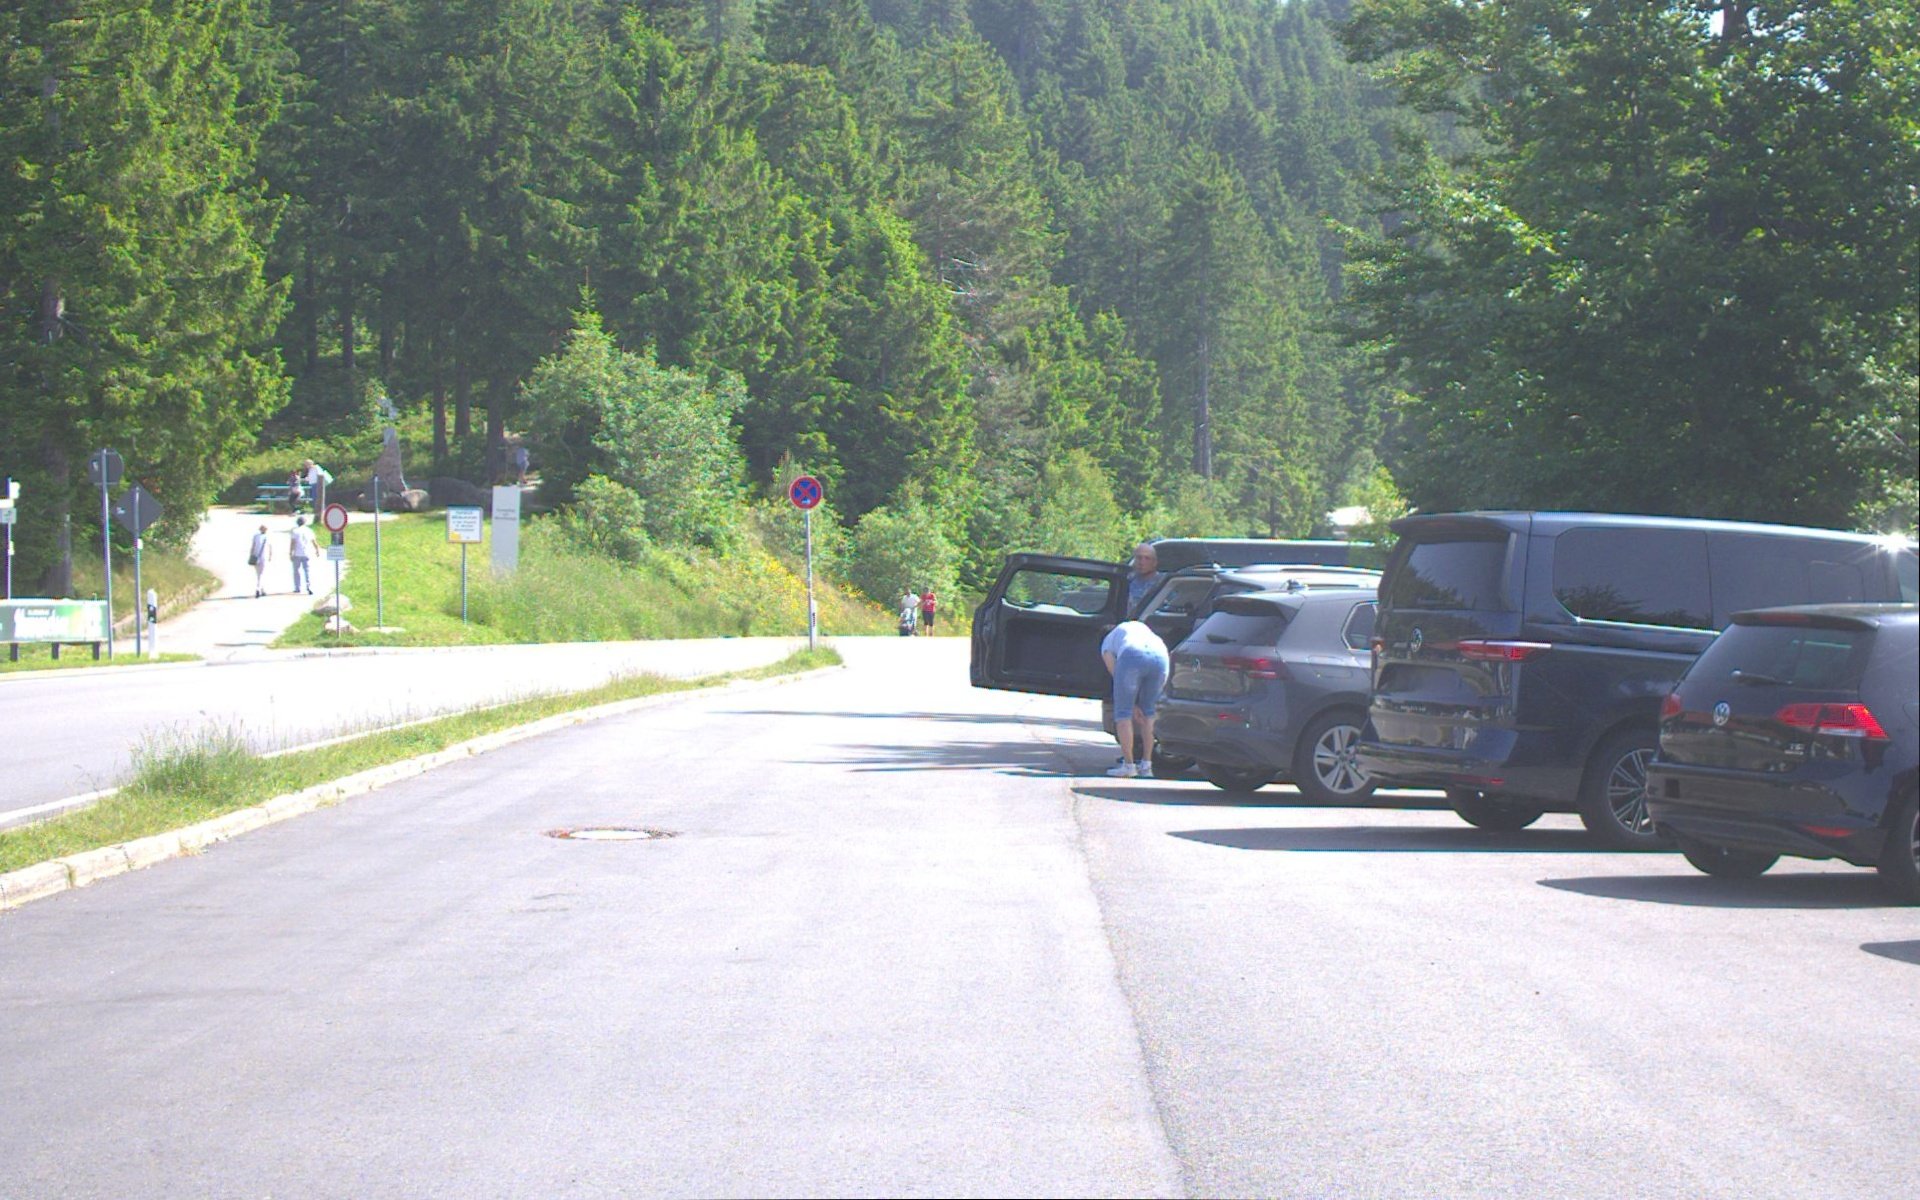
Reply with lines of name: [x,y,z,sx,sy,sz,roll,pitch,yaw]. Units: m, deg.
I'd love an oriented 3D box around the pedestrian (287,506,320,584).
pedestrian: [-15.200,-1.270,79.584,0.652,1.793,0.643,-1,1,-4]

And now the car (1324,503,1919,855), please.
car: [4.777,0.472,20.303,4.756,1.873,1.967,2,1,-17]

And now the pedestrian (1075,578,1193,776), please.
pedestrian: [1.273,0.553,25.019,0.774,1.398,0.669,-1,2,8]

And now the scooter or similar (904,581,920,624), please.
scooter or similar: [-1.602,0.087,114.266,0.483,1.375,0.817,-1,2,2]

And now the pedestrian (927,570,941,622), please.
pedestrian: [-0.856,-0.125,114.943,0.395,1.741,0.406,0,1,9]

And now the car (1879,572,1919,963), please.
car: [5.973,0.759,14.527,3.987,1.584,1.863,2,1,-35]

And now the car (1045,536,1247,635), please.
car: [3.810,-0.307,70.673,3.987,1.714,1.867,4,2,2]

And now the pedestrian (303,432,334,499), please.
pedestrian: [-19.481,-4.073,104.467,0.815,2.006,0.854,-2,2,-6]

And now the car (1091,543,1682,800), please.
car: [3.302,0.553,26.613,3.986,1.656,2.000,5,-1,-25]

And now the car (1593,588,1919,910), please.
car: [5.351,0.735,17.149,3.986,1.410,1.745,2,1,-25]

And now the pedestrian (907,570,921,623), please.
pedestrian: [-1.533,-0.117,114.894,0.415,1.741,0.457,-1,2,2]

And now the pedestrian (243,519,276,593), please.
pedestrian: [-16.077,-1.008,78.947,0.652,1.661,0.643,-1,-1,-4]

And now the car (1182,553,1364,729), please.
car: [3.884,0.472,43.311,1.905,1.966,4.819,4,1,2]

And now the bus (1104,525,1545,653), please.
bus: [10.930,-0.393,103.574,12.872,3.566,2.979,1,2,19]

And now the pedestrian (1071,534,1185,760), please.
pedestrian: [1.334,0.368,27.297,0.578,1.755,0.633,3,0,-27]

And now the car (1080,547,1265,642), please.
car: [4.799,-0.132,77.513,3.988,1.808,1.939,4,2,4]

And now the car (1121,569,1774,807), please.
car: [3.326,0.598,23.620,3.985,1.438,1.840,2,1,-19]
